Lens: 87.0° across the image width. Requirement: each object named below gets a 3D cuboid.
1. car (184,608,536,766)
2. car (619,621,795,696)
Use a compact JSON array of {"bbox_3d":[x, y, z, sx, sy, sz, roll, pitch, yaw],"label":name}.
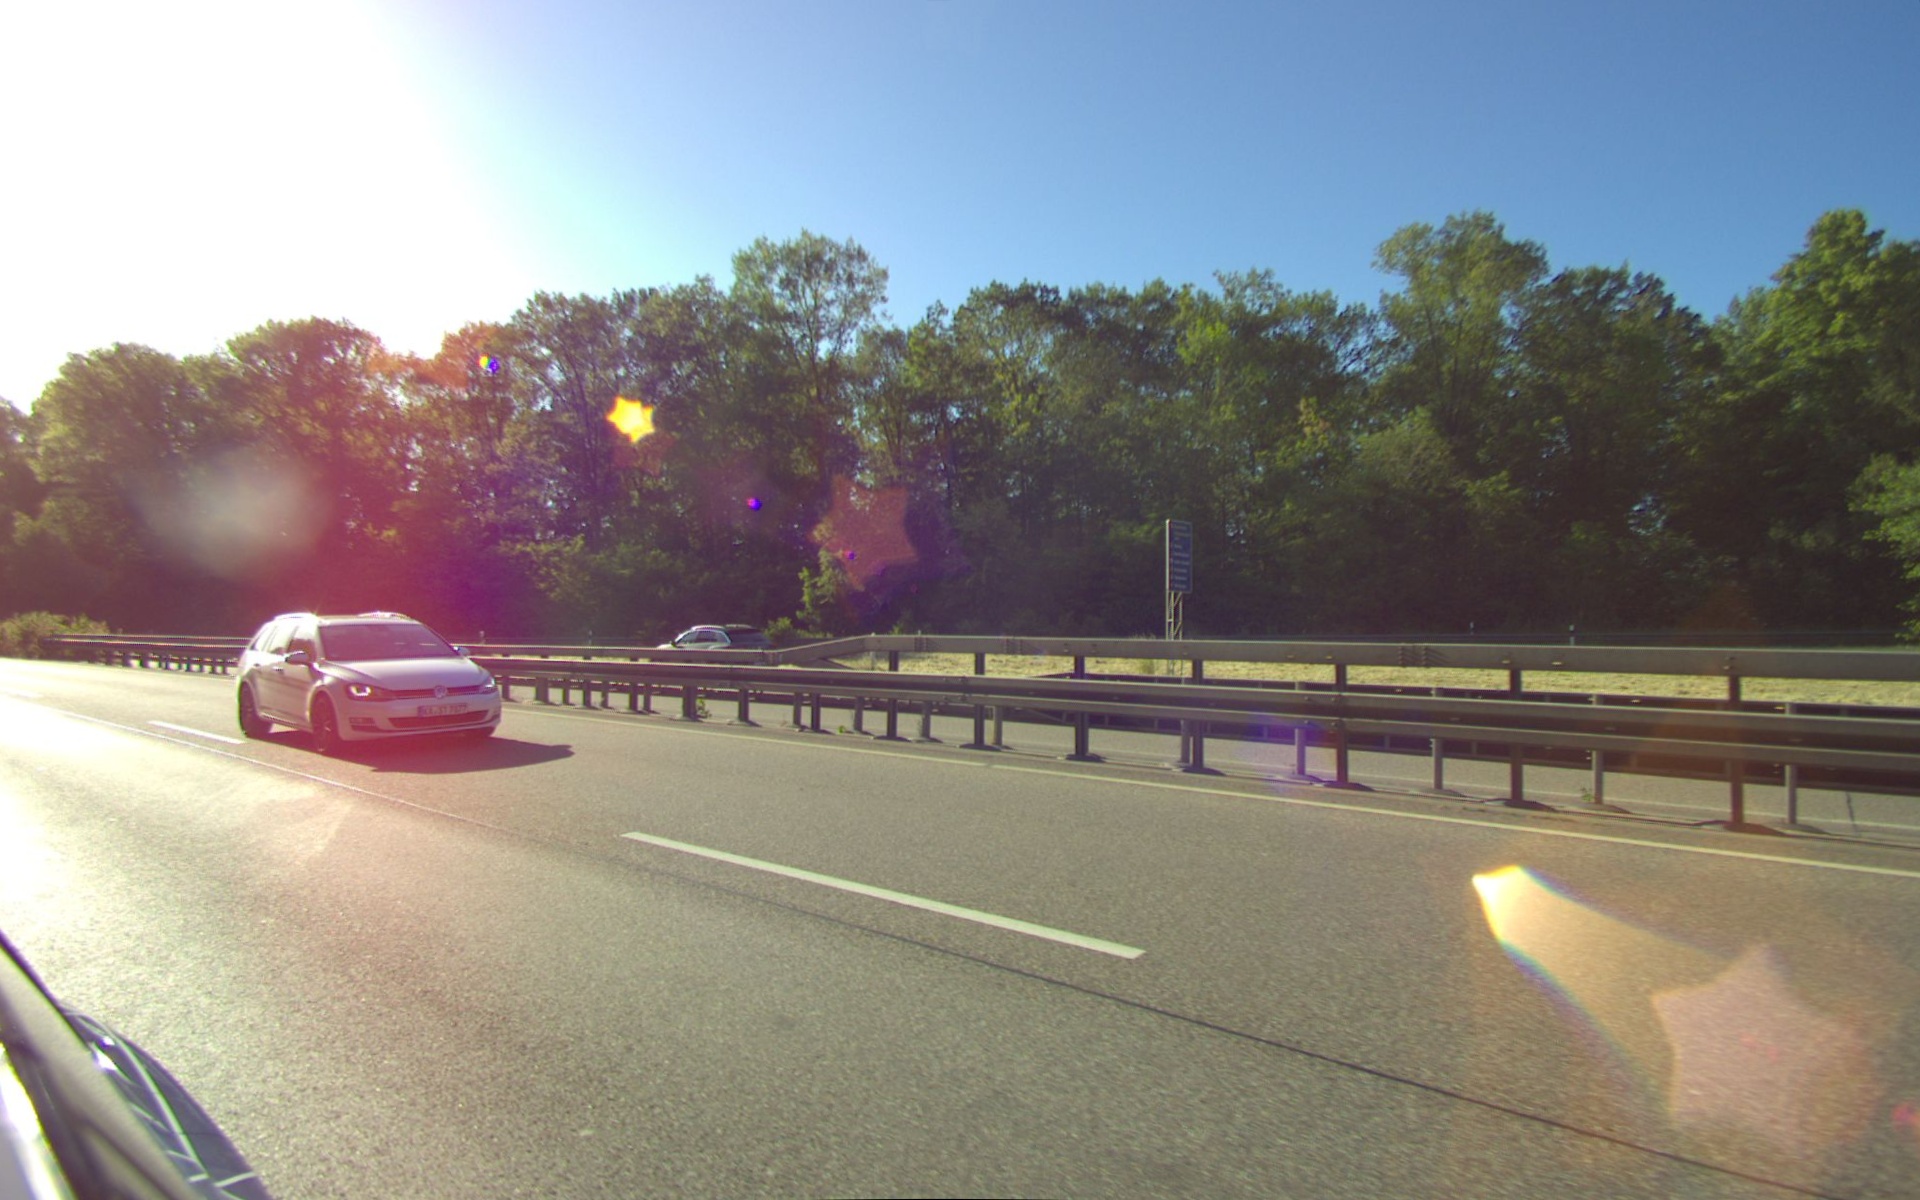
[{"bbox_3d":[-7.476,0.897,12.301,5.593,1.519,1.910,-2,-1,40],"label":"car"},{"bbox_3d":[-7.049,1.512,27.872,5.306,1.862,1.974,-1,-1,40],"label":"car"}]
